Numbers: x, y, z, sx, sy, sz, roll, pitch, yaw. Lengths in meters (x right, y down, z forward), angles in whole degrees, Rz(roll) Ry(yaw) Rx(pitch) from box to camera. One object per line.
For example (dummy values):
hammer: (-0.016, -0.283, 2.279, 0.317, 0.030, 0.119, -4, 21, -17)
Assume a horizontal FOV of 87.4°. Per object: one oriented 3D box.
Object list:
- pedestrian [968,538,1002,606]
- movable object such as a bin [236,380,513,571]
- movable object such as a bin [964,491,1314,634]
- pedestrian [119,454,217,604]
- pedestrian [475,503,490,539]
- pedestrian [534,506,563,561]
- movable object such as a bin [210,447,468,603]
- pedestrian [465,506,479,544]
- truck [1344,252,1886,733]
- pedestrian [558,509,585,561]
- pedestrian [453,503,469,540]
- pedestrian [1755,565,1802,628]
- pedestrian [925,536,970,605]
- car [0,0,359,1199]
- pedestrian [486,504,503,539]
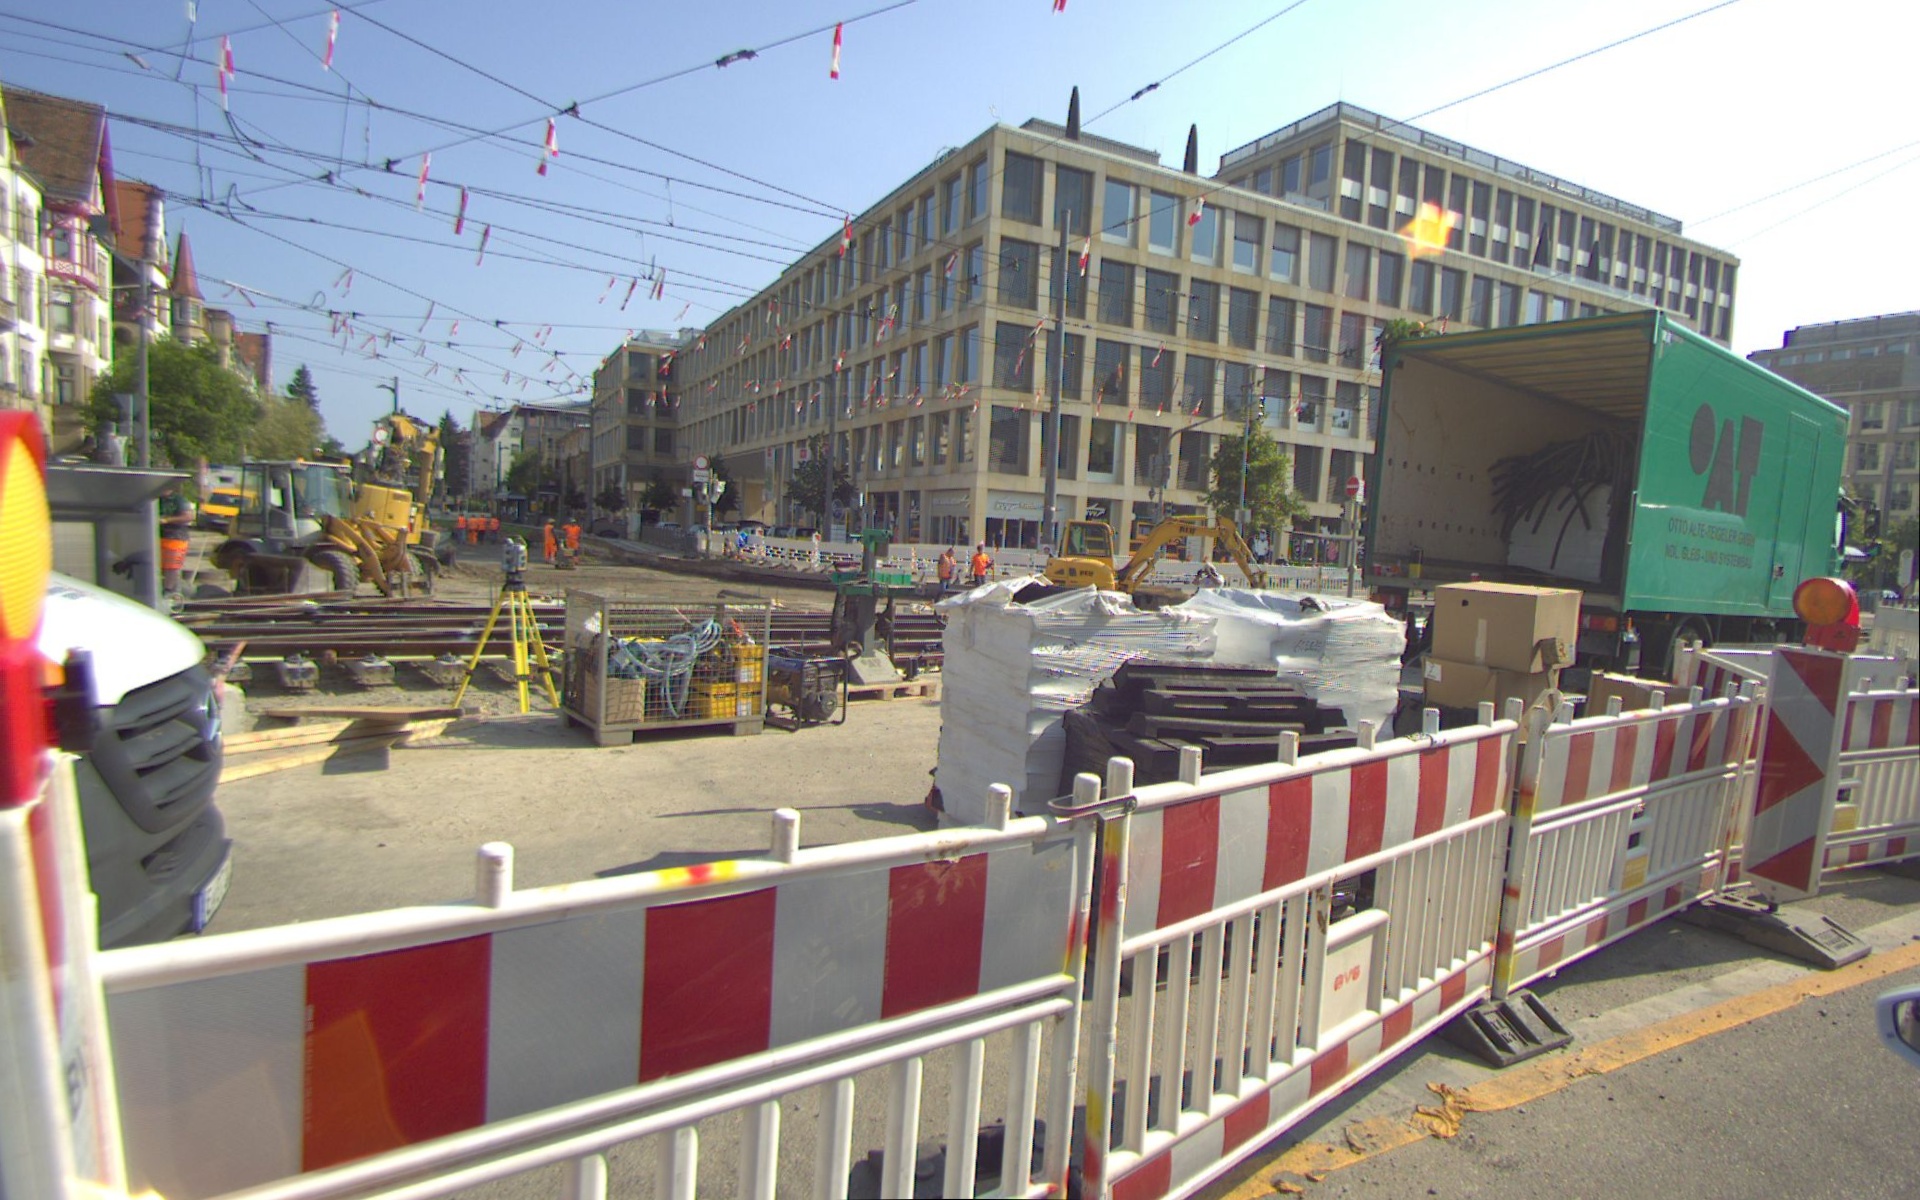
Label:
pedestrian: (0.721, -0.821, 29.190, 0.795, 1.890, 0.754, 3, 5, -8)
movable object such as a bin: (-16.414, -3.366, 29.110, 4.886, 4.405, 7.358, 3, 4, -14)
movable object such as a bin: (4.707, -0.945, 26.178, 8.370, 2.997, 3.598, 2, 5, -28)
pedestrian: (-10.786, -0.963, 13.704, 0.774, 1.938, 0.722, 3, 4, -7)
pedestrian: (-27.960, -4.616, 58.787, 0.631, 2.041, 0.671, 0, 6, -38)
pedestrian: (-16.285, -2.629, 39.768, 0.885, 2.093, 0.666, 7, 6, 39)
movable object such as a bin: (-13.094, -1.598, 21.178, 4.726, 2.873, 2.446, 5, 4, 26)
pedestrian: (-26.665, -4.087, 54.896, 0.629, 2.041, 0.674, 1, 5, -27)
truck: (8.244, -1.045, 12.055, 8.348, 3.966, 2.769, -1, 7, -40)
pedestrian: (-15.704, -2.633, 40.643, 0.812, 2.041, 0.669, 3, 4, -4)
pedestrian: (-28.586, -4.509, 57.524, 0.632, 2.041, 0.671, 0, 6, -39)
pedestrian: (26.730, -0.111, 32.805, 0.774, 1.977, 0.723, 2, 4, -13)
pedestrian: (-0.356, -0.837, 28.596, 0.803, 1.890, 0.916, 0, 6, -38)
car: (-5.007, -0.189, 1.318, 7.113, 2.457, 2.197, 2, 4, -30)
pedestrian: (-27.853, -4.674, 60.100, 0.666, 2.041, 0.636, 5, 5, 24)
